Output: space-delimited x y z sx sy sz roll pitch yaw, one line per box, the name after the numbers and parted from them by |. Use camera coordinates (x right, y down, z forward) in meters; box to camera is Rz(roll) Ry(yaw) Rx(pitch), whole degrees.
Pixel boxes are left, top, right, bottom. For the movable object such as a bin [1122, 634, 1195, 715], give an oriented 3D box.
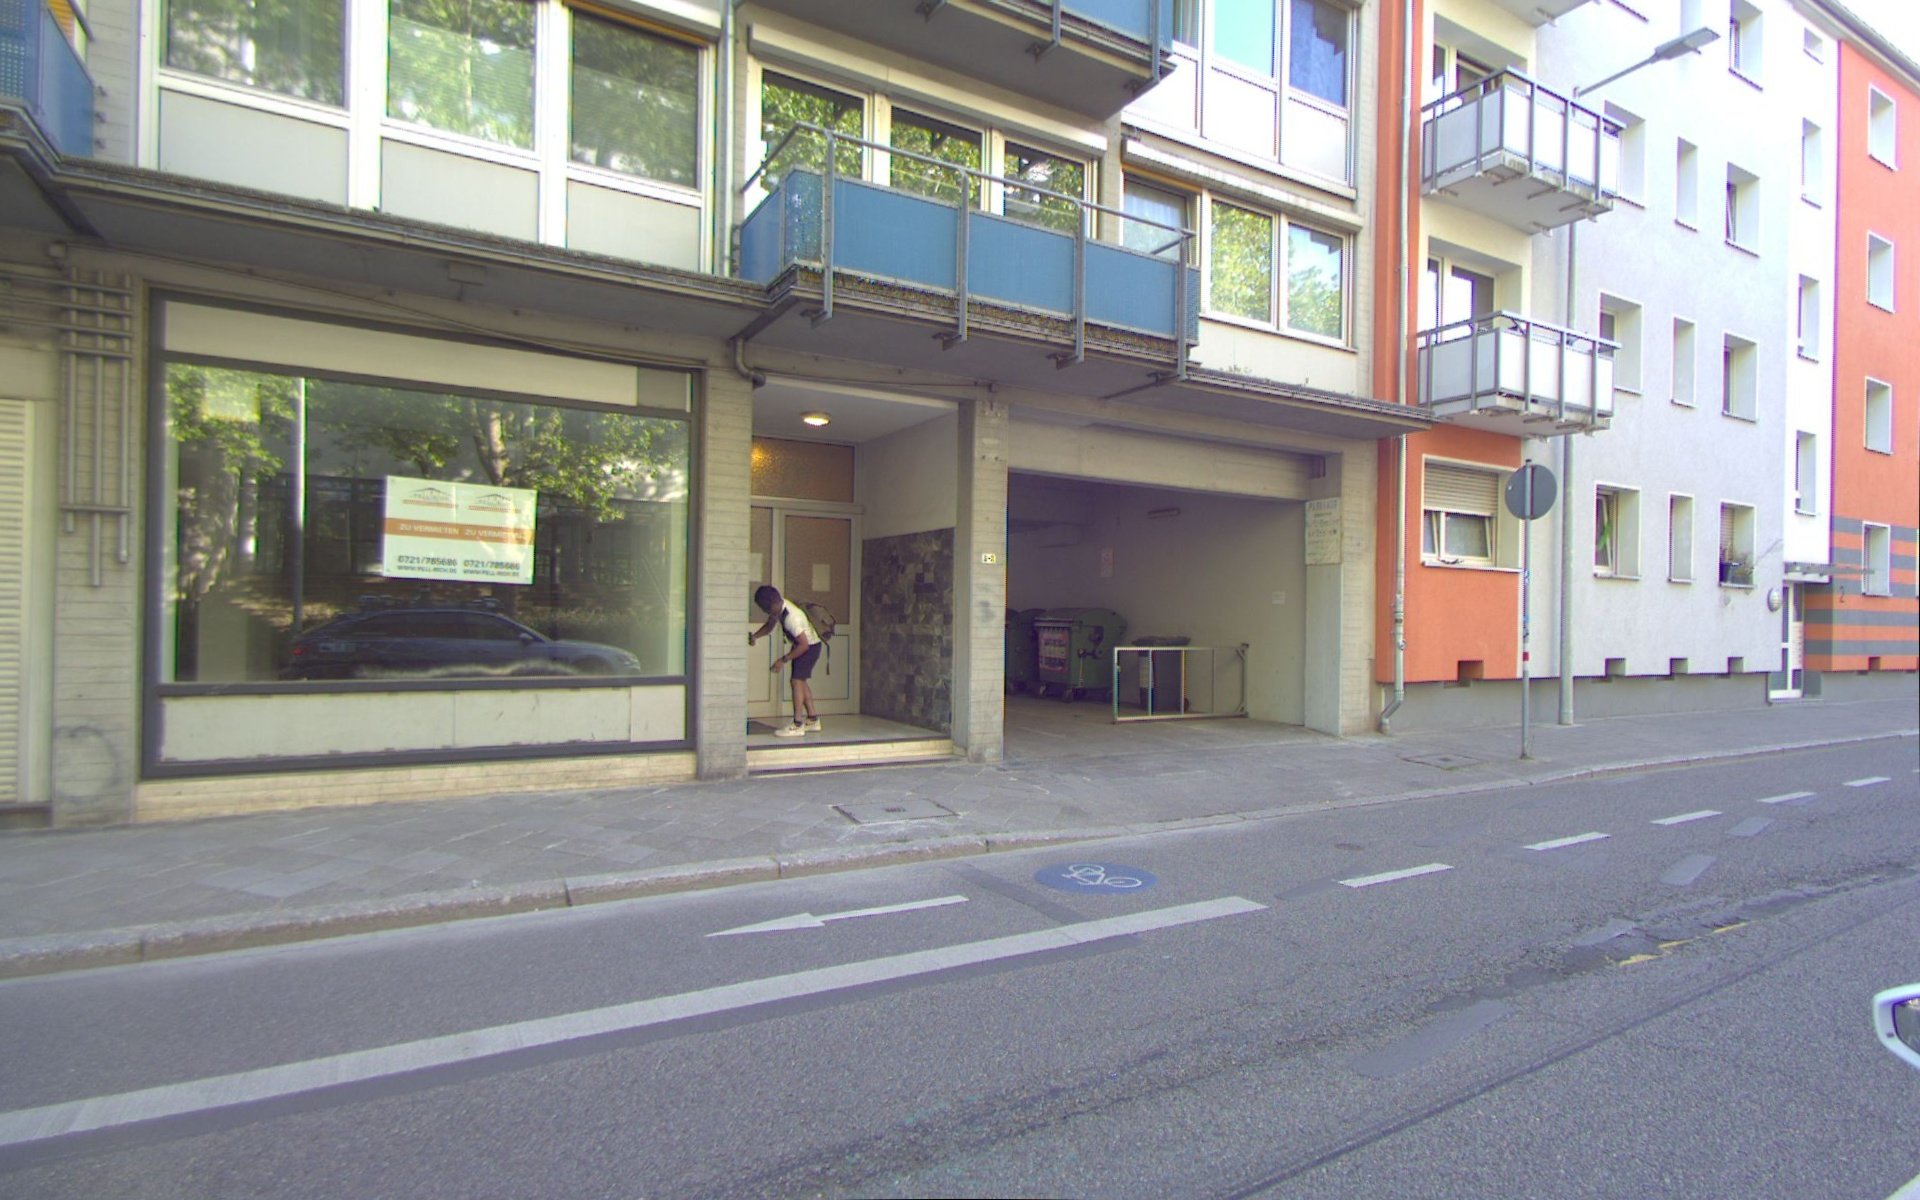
2.864 1.062 14.528 0.707 1.089 0.735 2 0 -30 | movable object such as a bin

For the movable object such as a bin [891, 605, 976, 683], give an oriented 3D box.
-0.534 0.859 19.935 1.182 1.452 1.300 2 0 -30 | movable object such as a bin

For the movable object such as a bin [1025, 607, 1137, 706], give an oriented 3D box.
1.887 0.868 15.810 1.182 1.452 1.300 2 0 -30 | movable object such as a bin

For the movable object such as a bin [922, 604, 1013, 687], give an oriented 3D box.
0.134 0.829 18.771 1.182 1.452 1.300 2 0 -30 | movable object such as a bin

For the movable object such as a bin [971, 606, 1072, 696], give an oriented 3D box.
1.046 0.849 17.197 1.182 1.452 1.300 2 0 -30 | movable object such as a bin

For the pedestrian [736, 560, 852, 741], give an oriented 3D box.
-1.553 0.459 9.396 0.914 1.606 0.561 1 0 -29 | pedestrian
